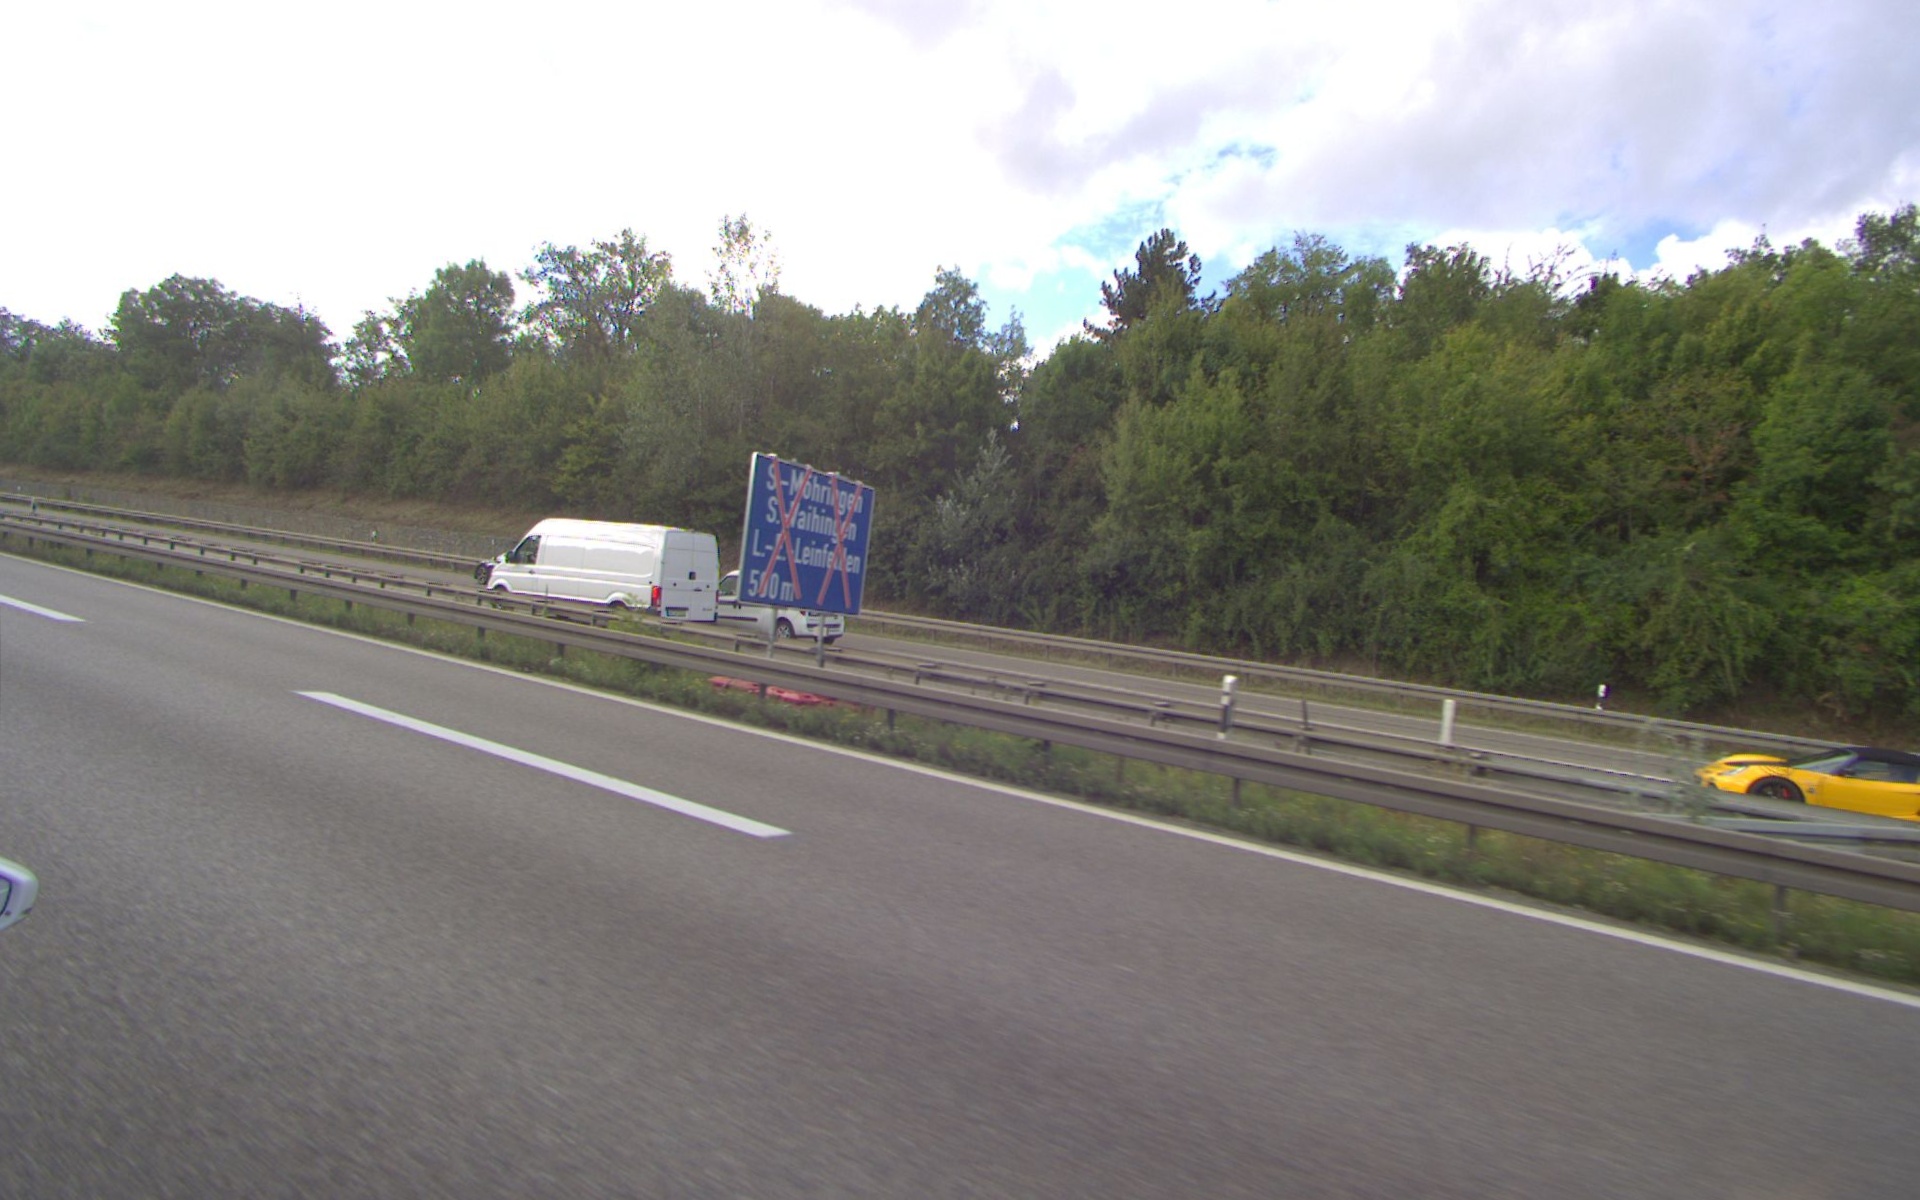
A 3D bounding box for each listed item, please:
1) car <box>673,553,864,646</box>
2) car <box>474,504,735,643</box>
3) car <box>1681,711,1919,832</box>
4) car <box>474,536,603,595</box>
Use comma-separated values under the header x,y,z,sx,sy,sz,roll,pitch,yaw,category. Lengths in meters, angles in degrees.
x,y,z,sx,sy,sz,roll,pitch,yaw,category
-4.984,-0.042,26.002,4.685,1.773,1.846,7,0,32,car
-8.724,-0.702,24.354,6.631,2.587,2.071,7,1,32,car
12.941,2.527,14.331,4.099,1.196,1.714,7,-1,31,car
-15.405,-1.266,36.693,4.684,1.624,1.844,7,2,31,car
